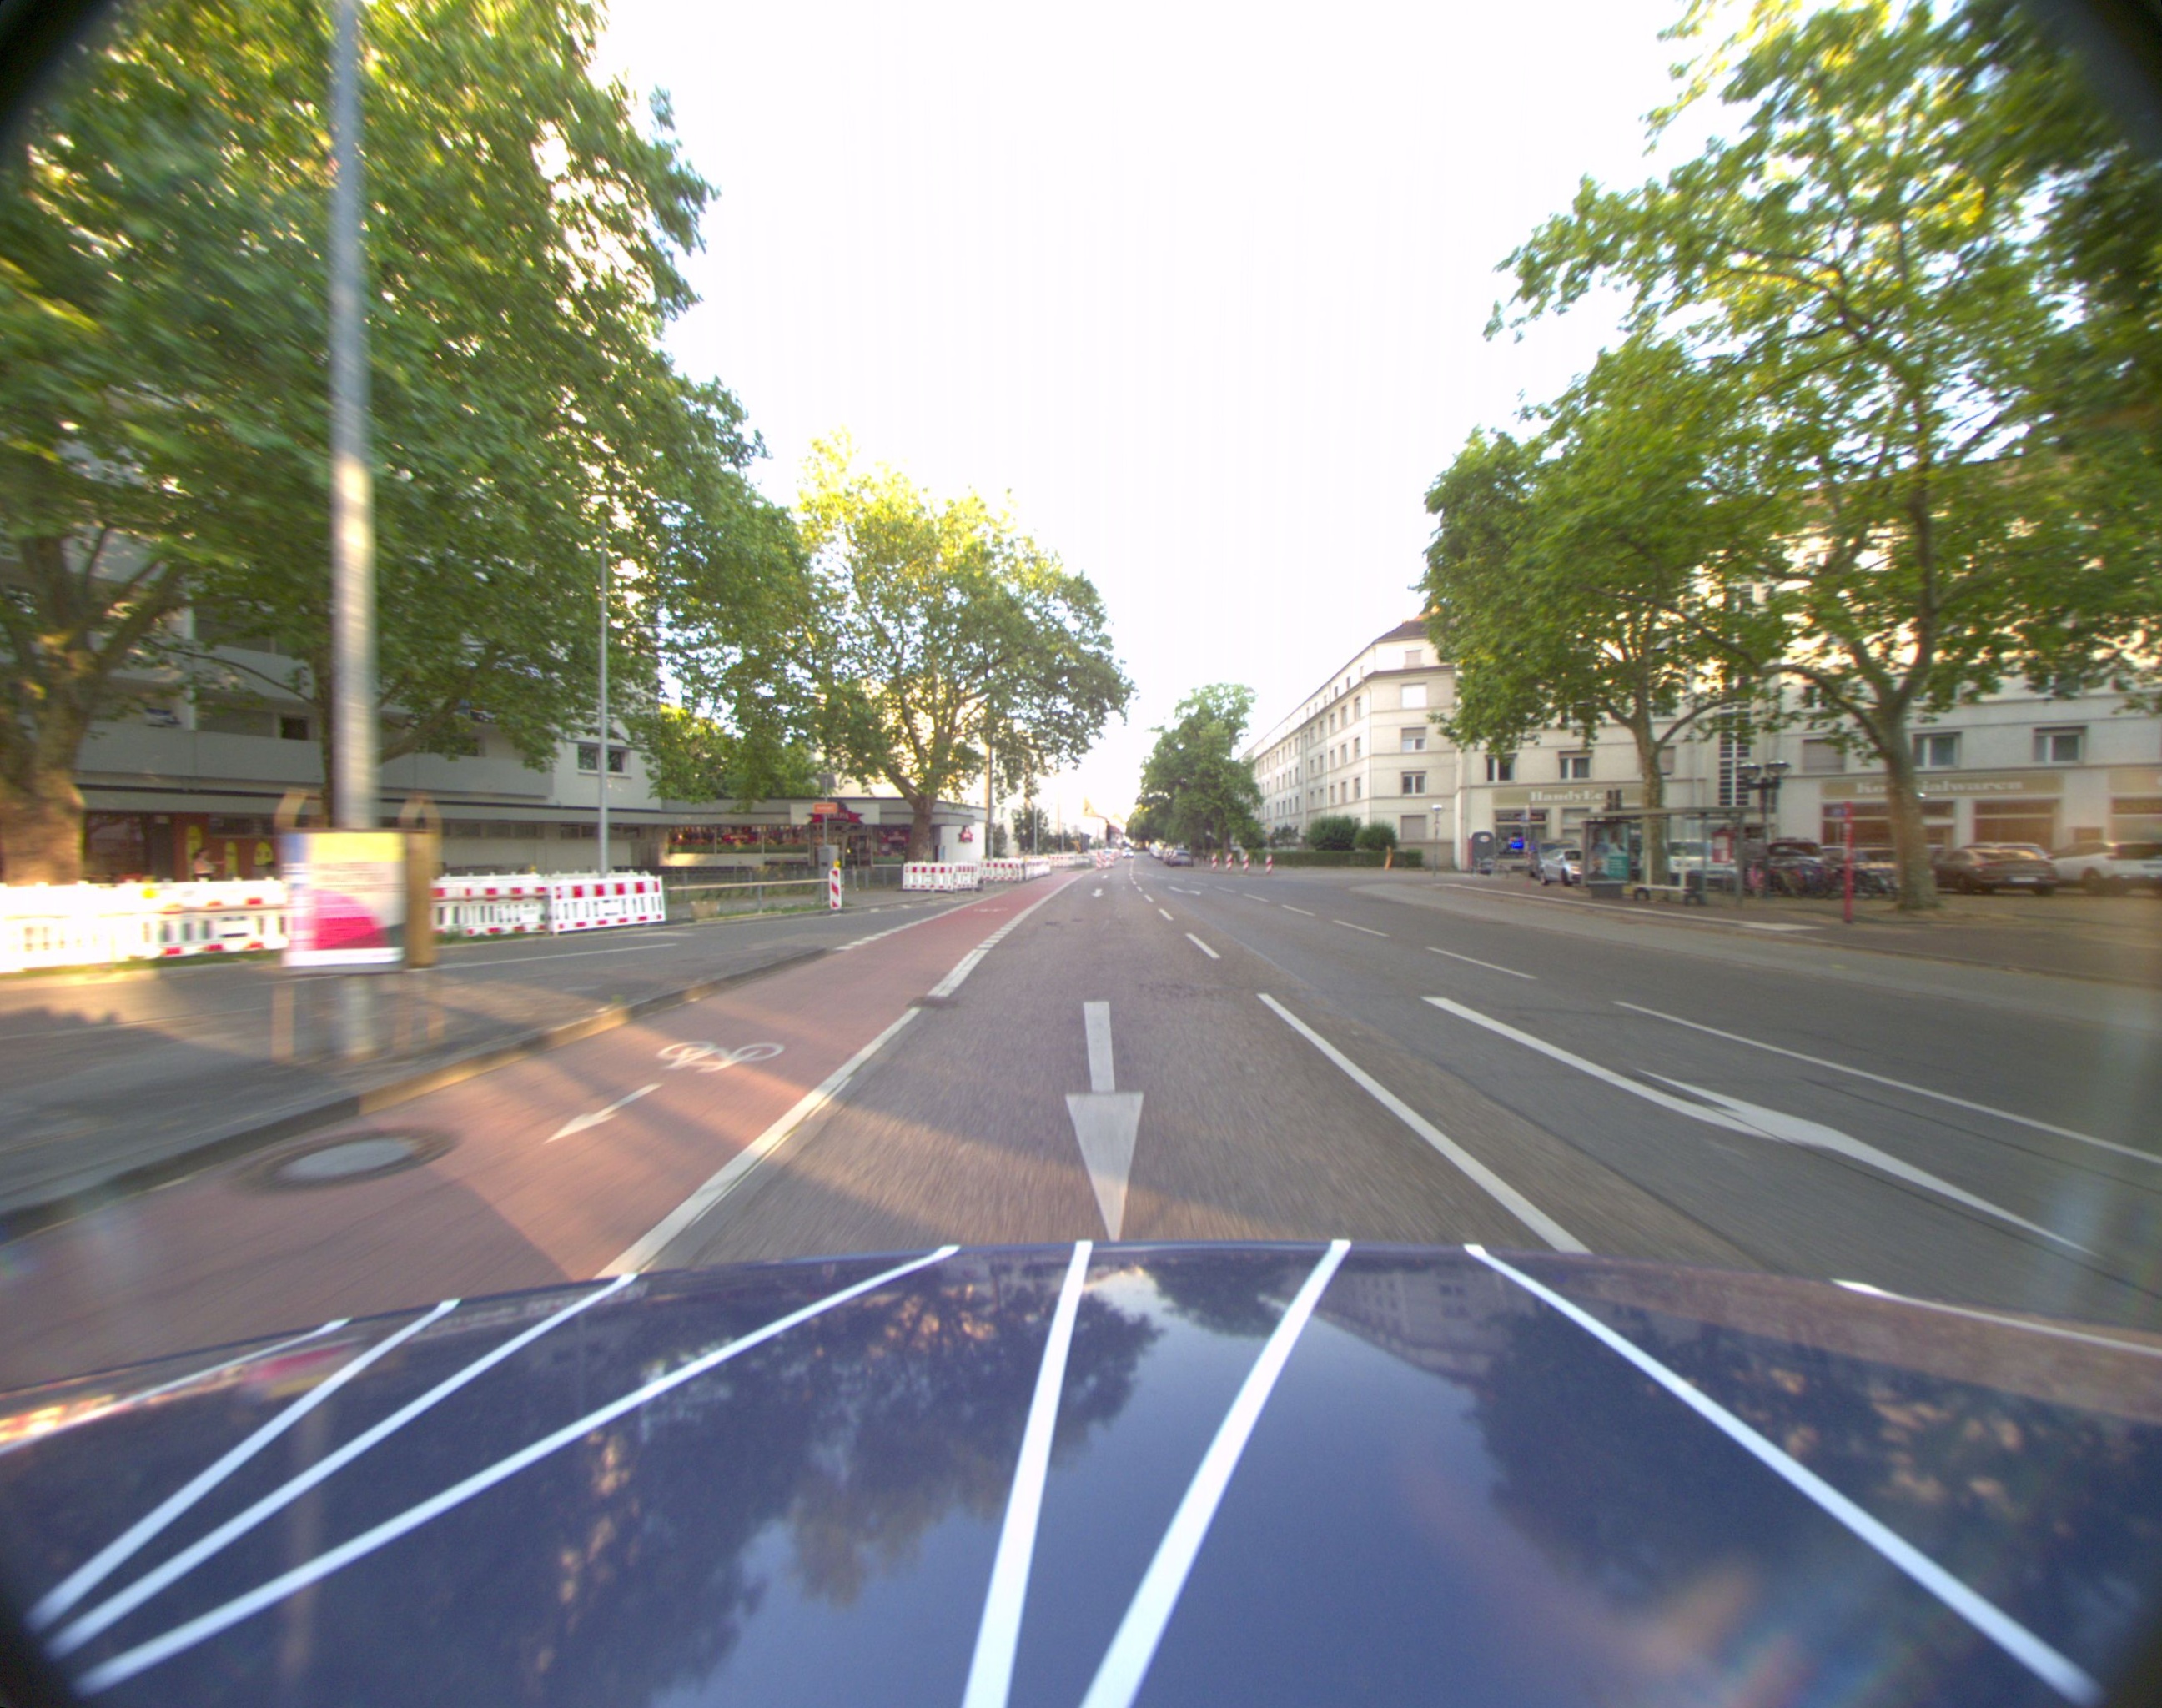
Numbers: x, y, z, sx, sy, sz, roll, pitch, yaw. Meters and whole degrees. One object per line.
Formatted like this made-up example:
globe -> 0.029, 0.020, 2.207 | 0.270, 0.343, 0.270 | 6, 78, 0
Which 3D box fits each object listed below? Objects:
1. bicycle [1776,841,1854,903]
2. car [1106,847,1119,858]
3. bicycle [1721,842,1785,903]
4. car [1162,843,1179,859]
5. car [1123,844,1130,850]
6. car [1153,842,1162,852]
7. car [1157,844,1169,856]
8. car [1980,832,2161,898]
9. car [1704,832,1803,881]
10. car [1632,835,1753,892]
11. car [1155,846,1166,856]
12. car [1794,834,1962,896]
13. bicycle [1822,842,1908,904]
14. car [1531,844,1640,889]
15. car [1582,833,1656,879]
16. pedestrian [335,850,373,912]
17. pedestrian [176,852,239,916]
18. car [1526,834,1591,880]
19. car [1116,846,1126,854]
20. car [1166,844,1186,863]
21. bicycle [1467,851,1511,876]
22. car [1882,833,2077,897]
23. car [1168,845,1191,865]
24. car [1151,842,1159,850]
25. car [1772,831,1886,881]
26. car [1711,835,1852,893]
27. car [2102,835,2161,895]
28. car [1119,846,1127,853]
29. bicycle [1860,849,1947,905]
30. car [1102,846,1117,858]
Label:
bicycle -> 21.002, 0.468, 21.819 | 0.807, 1.605, 2.749 | 0, 2, 26
car -> 5.313, -0.206, 127.034 | 1.892, 1.726, 4.260 | -1, 2, 6
bicycle -> 19.516, 0.493, 22.145 | 0.690, 1.605, 2.749 | 0, 2, 26
car -> 10.450, -0.354, 89.057 | 1.892, 1.764, 4.260 | -1, 2, 6
car -> 13.077, -1.977, 219.322 | 1.892, 1.591, 4.260 | -1, 2, 6
car -> 15.711, -1.525, 155.721 | 1.892, 1.868, 4.946 | -1, 2, 6
car -> 13.113, -0.647, 121.817 | 1.892, 1.855, 4.260 | -1, 2, 6
car -> 30.071, 0.323, 22.821 | 1.995, 1.771, 4.649 | 1, 0, 22
car -> 30.132, 0.029, 34.241 | 1.995, 1.945, 4.647 | 1, 3, 24
car -> 21.136, 0.312, 26.513 | 1.995, 1.771, 4.649 | 1, 0, 22
car -> 13.797, -0.562, 131.482 | 1.892, 1.591, 4.260 | -1, 2, 6
car -> 25.702, 0.338, 24.757 | 1.995, 1.771, 4.649 | 1, 0, 22
bicycle -> 22.014, 0.483, 21.419 | 0.807, 1.605, 2.749 | 0, 2, 26
car -> 18.569, 0.432, 28.226 | 1.996, 1.495, 4.647 | 1, 0, 16
car -> 25.506, 0.033, 36.200 | 1.995, 1.945, 4.647 | 1, 3, 24
pedestrian -> -19.240, 0.701, 20.105 | 0.642, 1.579, 0.744 | -3, 3, -44
pedestrian -> -22.088, 0.745, 19.226 | 0.641, 1.579, 0.746 | -1, 2, -5
car -> 23.160, 0.073, 37.050 | 1.995, 1.945, 4.647 | 1, 3, 24
car -> 9.031, -0.870, 169.917 | 1.892, 1.591, 4.260 | -1, 2, 6
car -> 9.529, -0.086, 76.239 | 1.892, 1.681, 4.260 | -1, 2, 6
bicycle -> 19.943, 0.471, 37.150 | 1.802, 1.199, 0.648 | 0, 2, 34
car -> 27.878, 0.332, 23.851 | 1.995, 1.771, 4.649 | 1, 0, 22
car -> 8.736, 0.062, 67.745 | 1.892, 1.591, 4.001 | -1, 2, 6
car -> 17.469, -1.922, 179.636 | 1.892, 1.591, 4.260 | -1, 2, 6
car -> 32.397, 0.007, 33.096 | 1.995, 1.945, 4.647 | 1, 3, 24
car -> 23.598, 0.313, 25.853 | 1.995, 1.771, 4.649 | 1, 0, 22
car -> 32.570, 0.328, 21.640 | 1.995, 1.771, 4.649 | 1, 0, 22
car -> 11.010, -1.122, 198.504 | 1.892, 1.591, 4.260 | -1, 2, 6
bicycle -> 22.877, 0.595, 21.198 | 0.690, 1.376, 2.749 | 0, 2, 26
car -> 4.358, -0.282, 114.757 | 1.892, 1.591, 4.260 | -1, 2, 6
